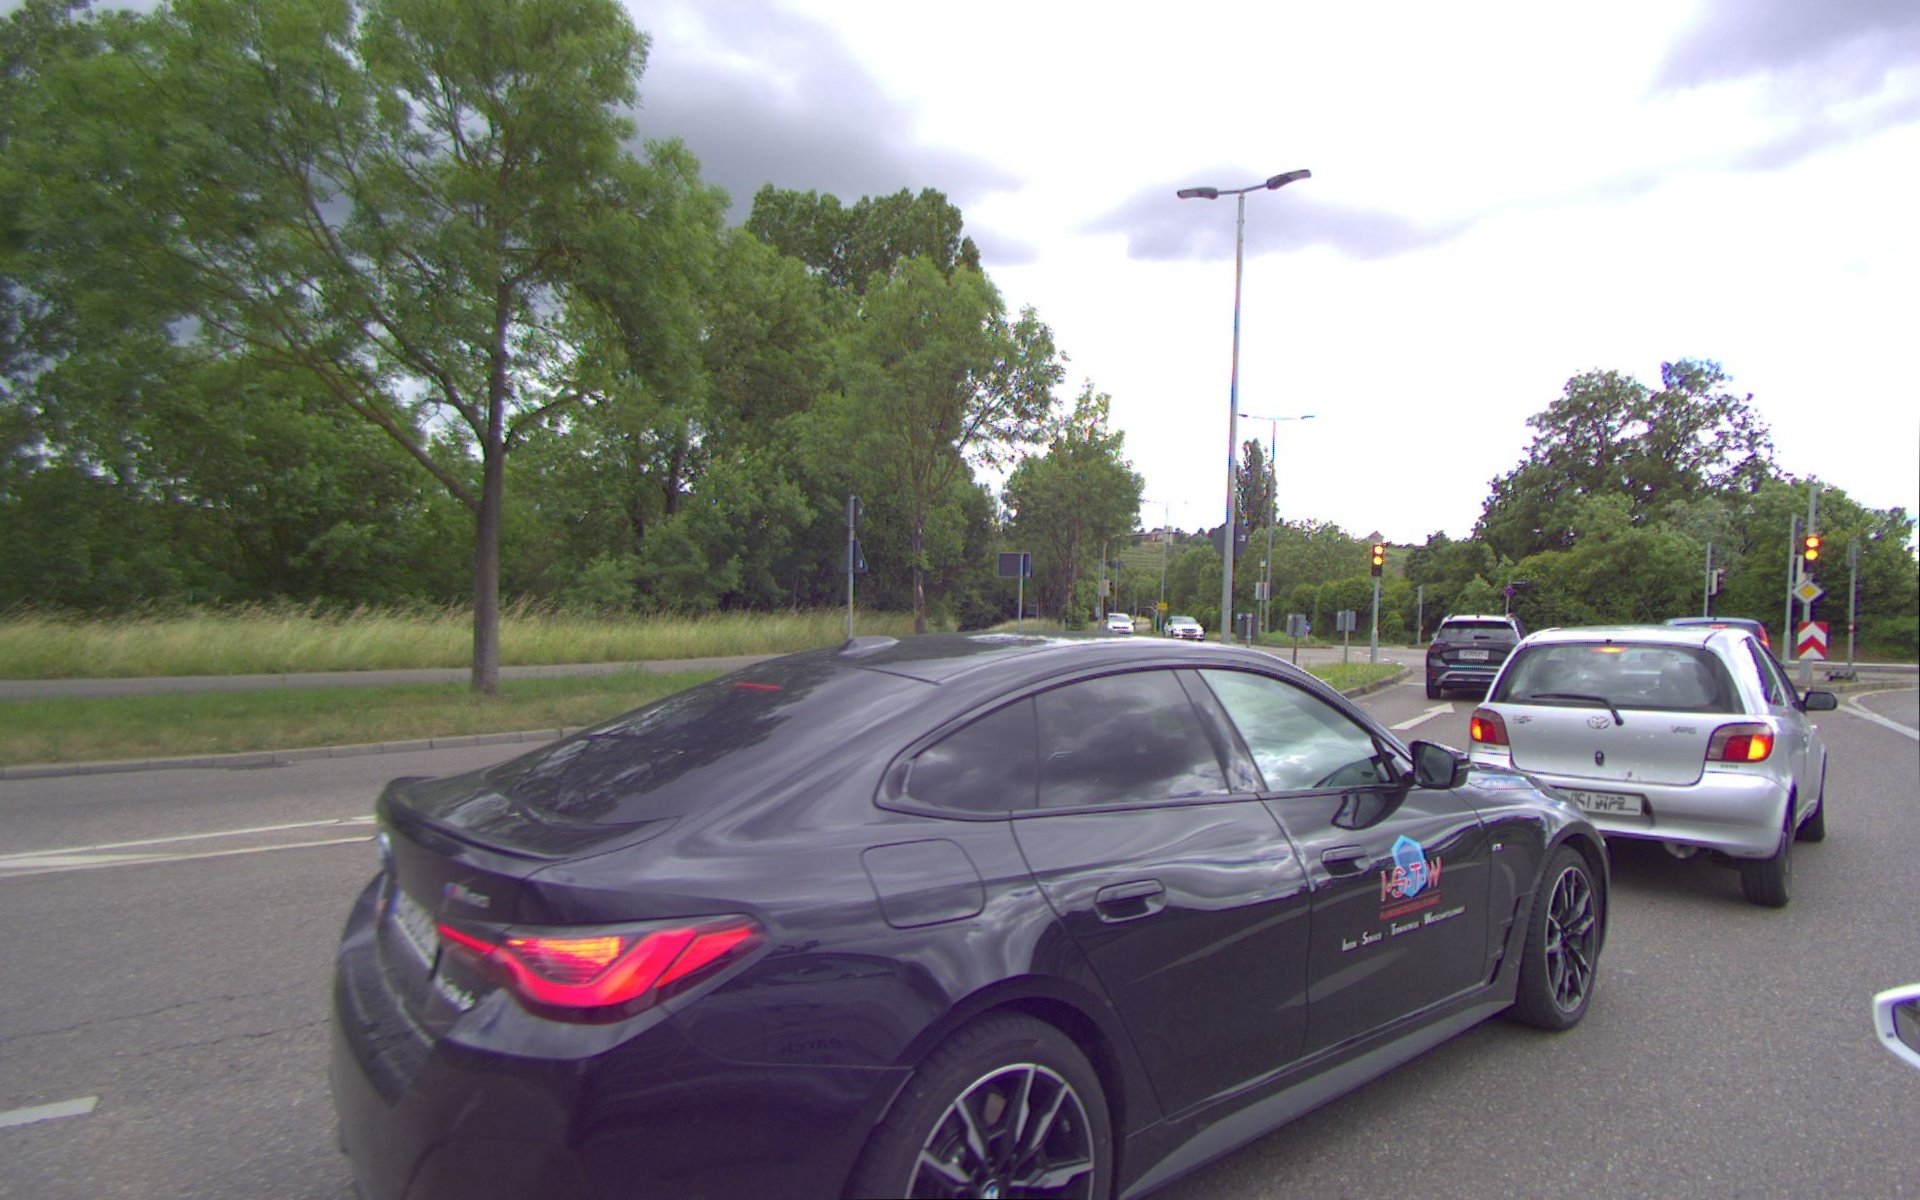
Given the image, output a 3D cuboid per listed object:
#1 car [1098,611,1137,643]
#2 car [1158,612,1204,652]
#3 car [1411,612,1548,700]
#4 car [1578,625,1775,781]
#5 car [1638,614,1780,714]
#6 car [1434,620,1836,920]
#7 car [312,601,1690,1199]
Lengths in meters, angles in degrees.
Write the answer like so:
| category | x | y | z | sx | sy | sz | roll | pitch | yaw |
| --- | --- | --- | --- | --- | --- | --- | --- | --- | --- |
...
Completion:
| category | x | y | z | sx | sy | sz | roll | pitch | yaw |
| --- | --- | --- | --- | --- | --- | --- | --- | --- | --- |
| car | 10.729 | 1.815 | 68.755 | 2.042 | 1.783 | 4.322 | 3 | 2 | 2 |
| car | 13.238 | 1.904 | 60.335 | 1.897 | 2.021 | 4.322 | 3 | 2 | 2 |
| car | 10.099 | 1.009 | 19.395 | 1.636 | 1.527 | 3.753 | -2 | -2 | 38 |
| car | 8.292 | 1.028 | 11.478 | 1.545 | 1.386 | 4.064 | -2 | -1 | 39 |
| car | 12.829 | 1.021 | 17.382 | 1.520 | 1.527 | 3.374 | 0 | -1 | 29 |
| car | 4.769 | 0.905 | 6.893 | 1.651 | 1.489 | 3.606 | -2 | -3 | 44 |
| car | 0.678 | 0.807 | 3.602 | 4.919 | 1.496 | 1.859 | 1 | -2 | -38 |
